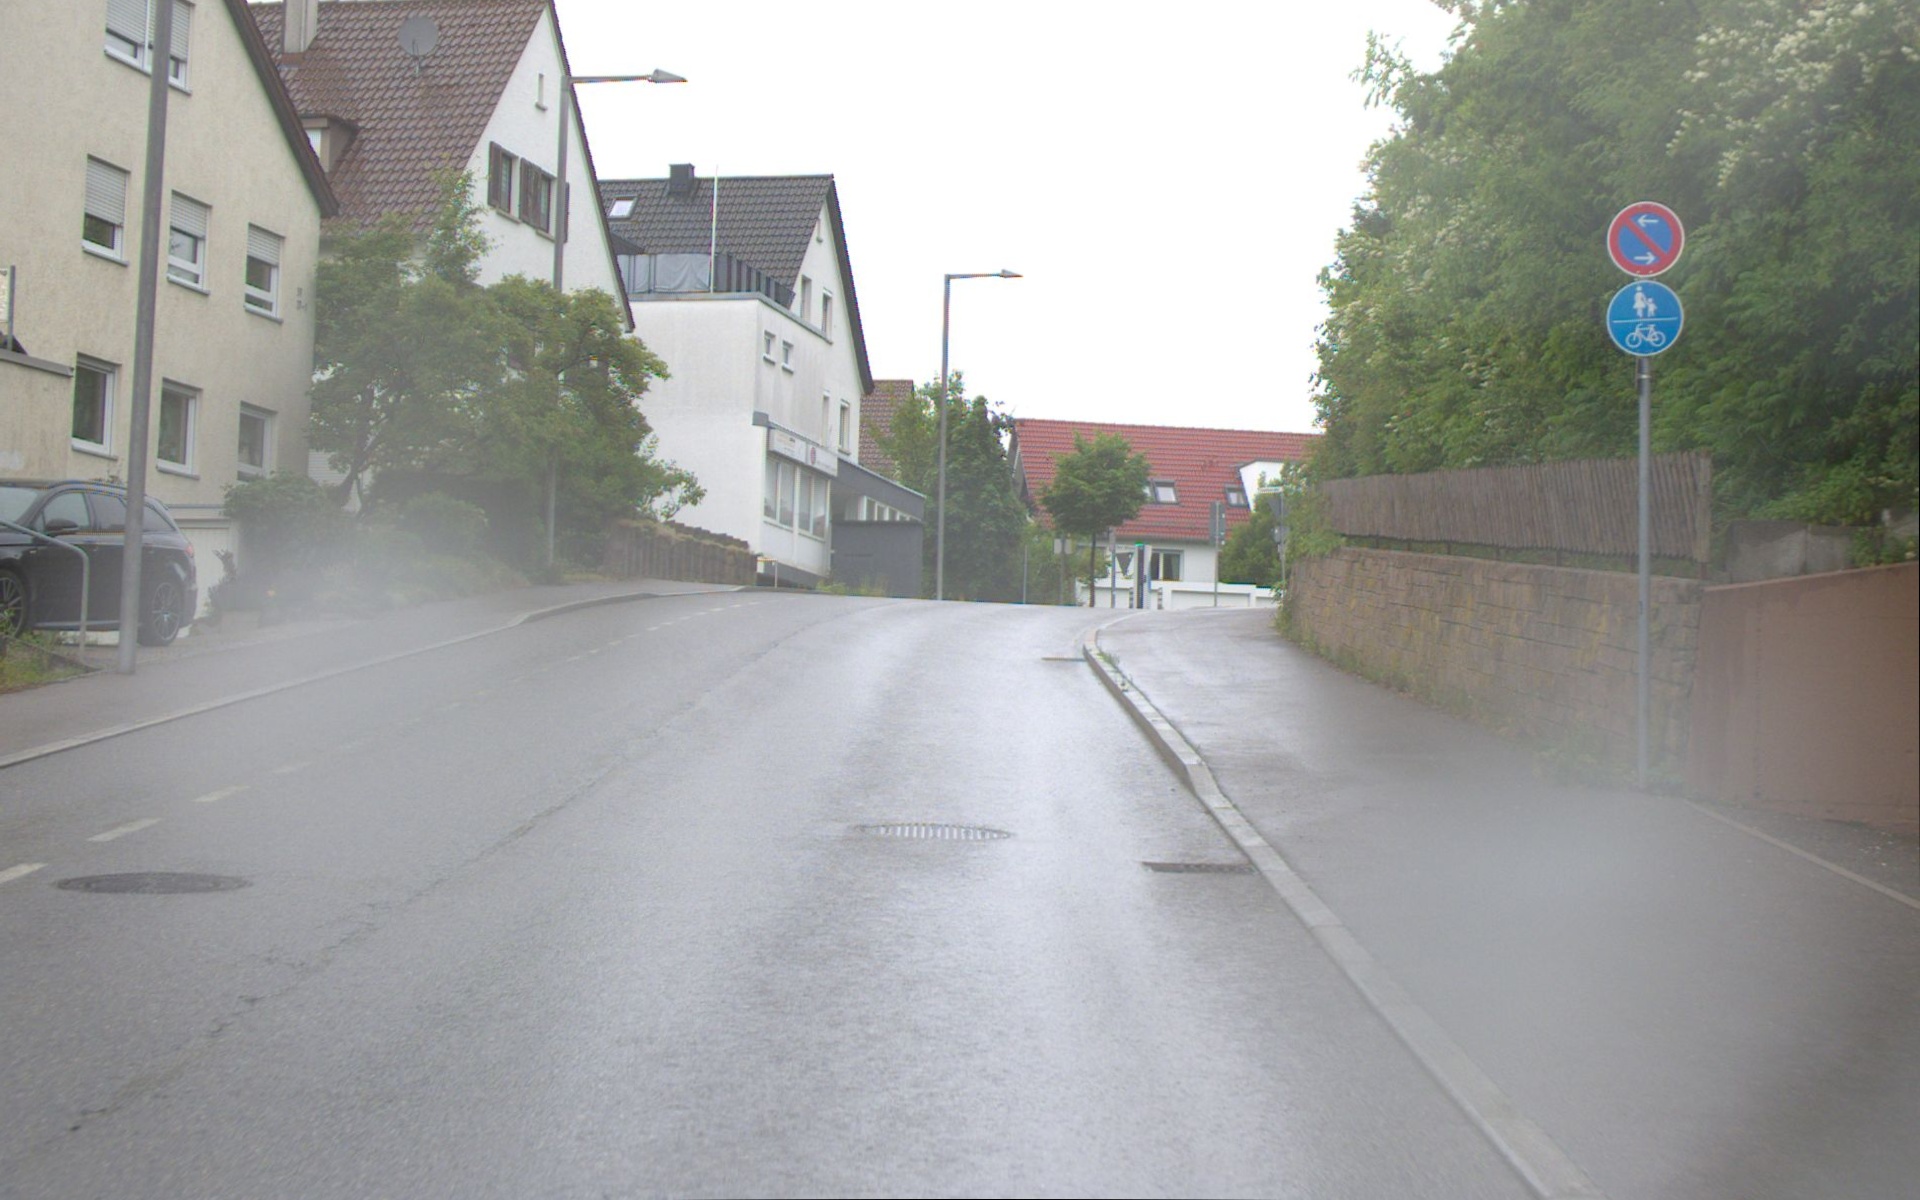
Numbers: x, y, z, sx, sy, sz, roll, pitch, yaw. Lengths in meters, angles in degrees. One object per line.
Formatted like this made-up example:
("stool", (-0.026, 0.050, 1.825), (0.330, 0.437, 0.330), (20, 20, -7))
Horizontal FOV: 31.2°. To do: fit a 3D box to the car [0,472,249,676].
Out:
("car", (-8.257, -0.262, 30.278), (1.975, 1.653, 4.960), (1, 1, 13))
